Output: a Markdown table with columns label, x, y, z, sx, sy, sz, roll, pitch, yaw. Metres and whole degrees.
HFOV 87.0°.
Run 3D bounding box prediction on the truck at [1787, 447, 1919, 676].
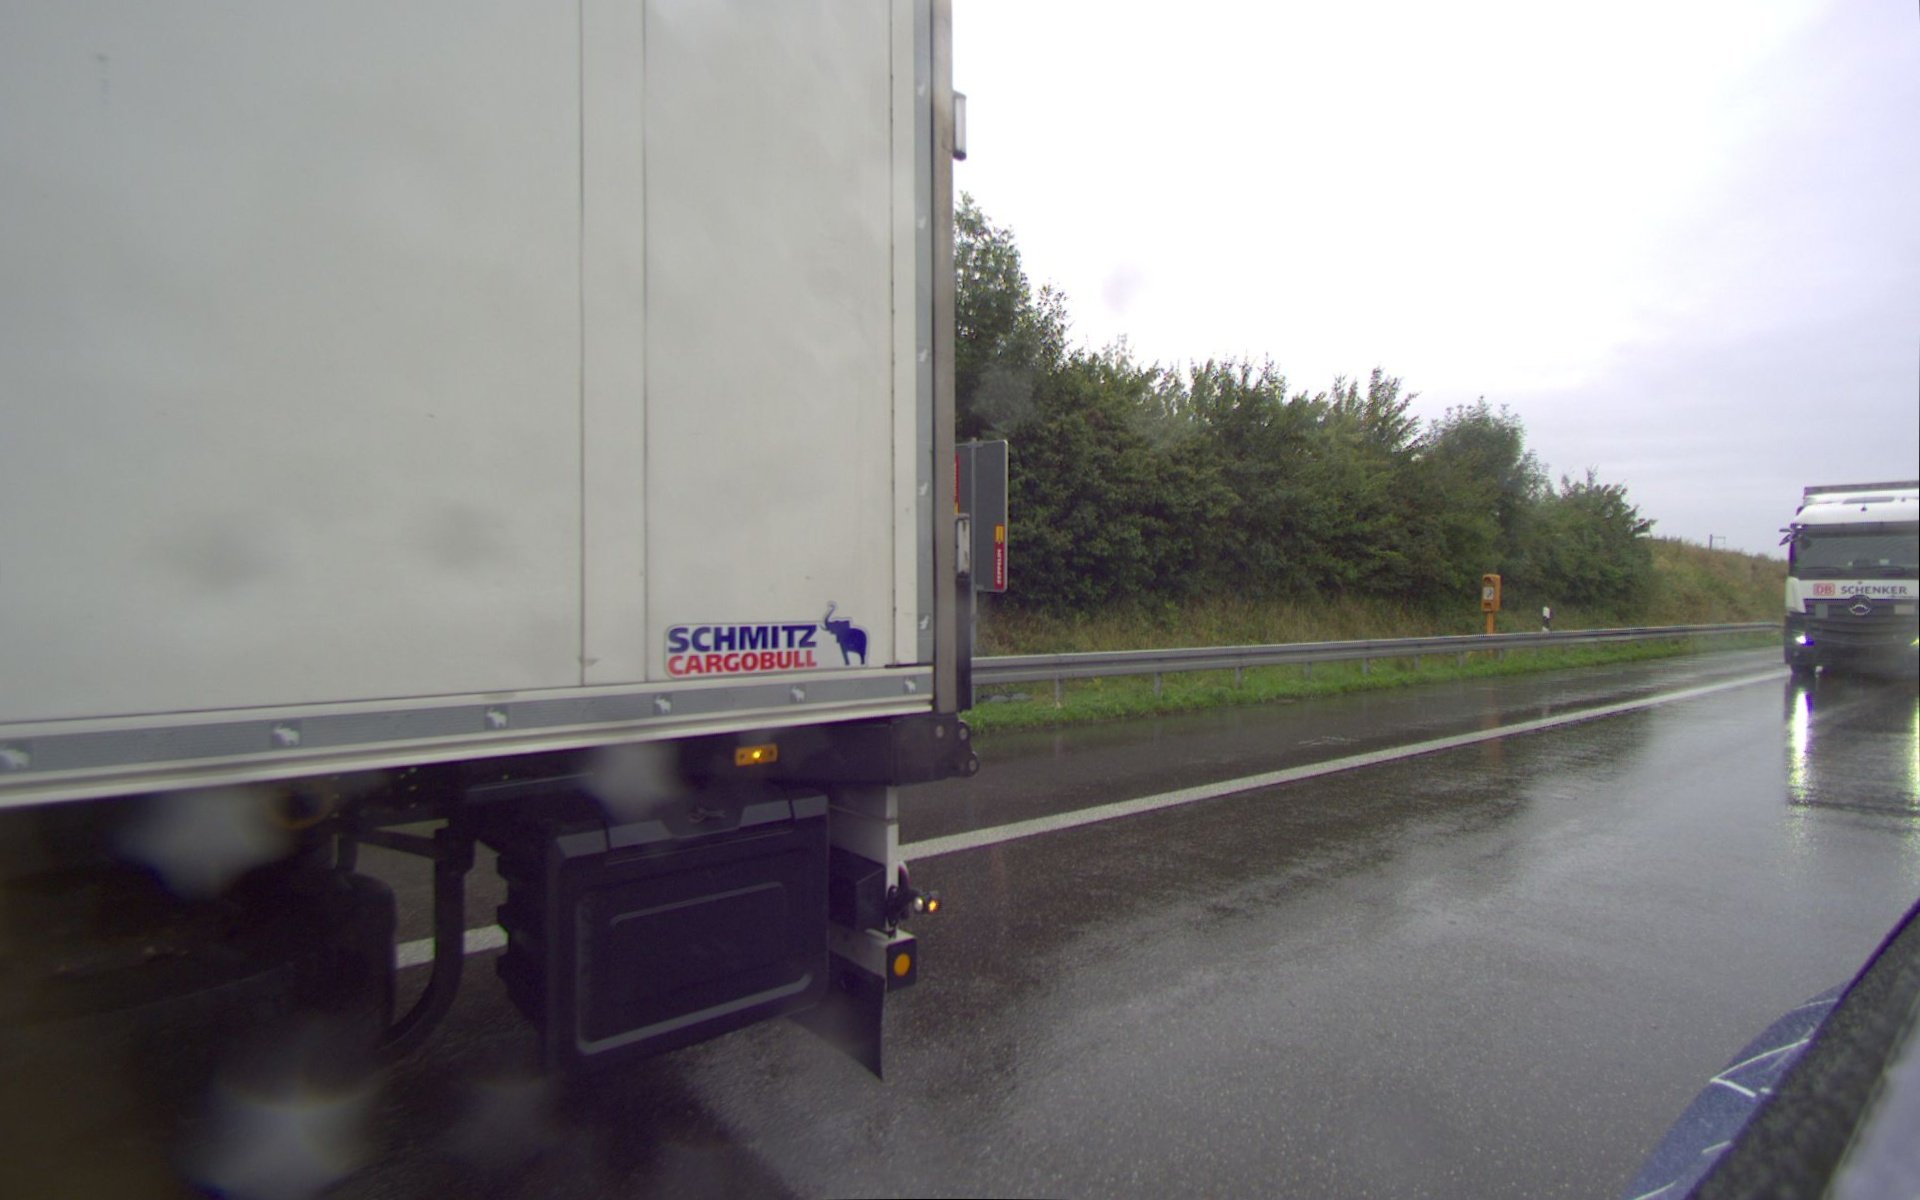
| label | x | y | z | sx | sy | sz | roll | pitch | yaw |
| --- | --- | --- | --- | --- | --- | --- | --- | --- | --- |
| truck | 19.472 | -0.746 | 21.139 | 4.955 | 4.307 | 2.630 | 0 | 0 | -41 |

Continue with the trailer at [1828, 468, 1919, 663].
| label | x | y | z | sx | sy | sz | roll | pitch | yaw |
| --- | --- | --- | --- | --- | --- | --- | --- | --- | --- |
| trailer | 26.247 | -0.808 | 26.978 | 13.927 | 4.302 | 2.631 | 0 | 0 | -41 |
